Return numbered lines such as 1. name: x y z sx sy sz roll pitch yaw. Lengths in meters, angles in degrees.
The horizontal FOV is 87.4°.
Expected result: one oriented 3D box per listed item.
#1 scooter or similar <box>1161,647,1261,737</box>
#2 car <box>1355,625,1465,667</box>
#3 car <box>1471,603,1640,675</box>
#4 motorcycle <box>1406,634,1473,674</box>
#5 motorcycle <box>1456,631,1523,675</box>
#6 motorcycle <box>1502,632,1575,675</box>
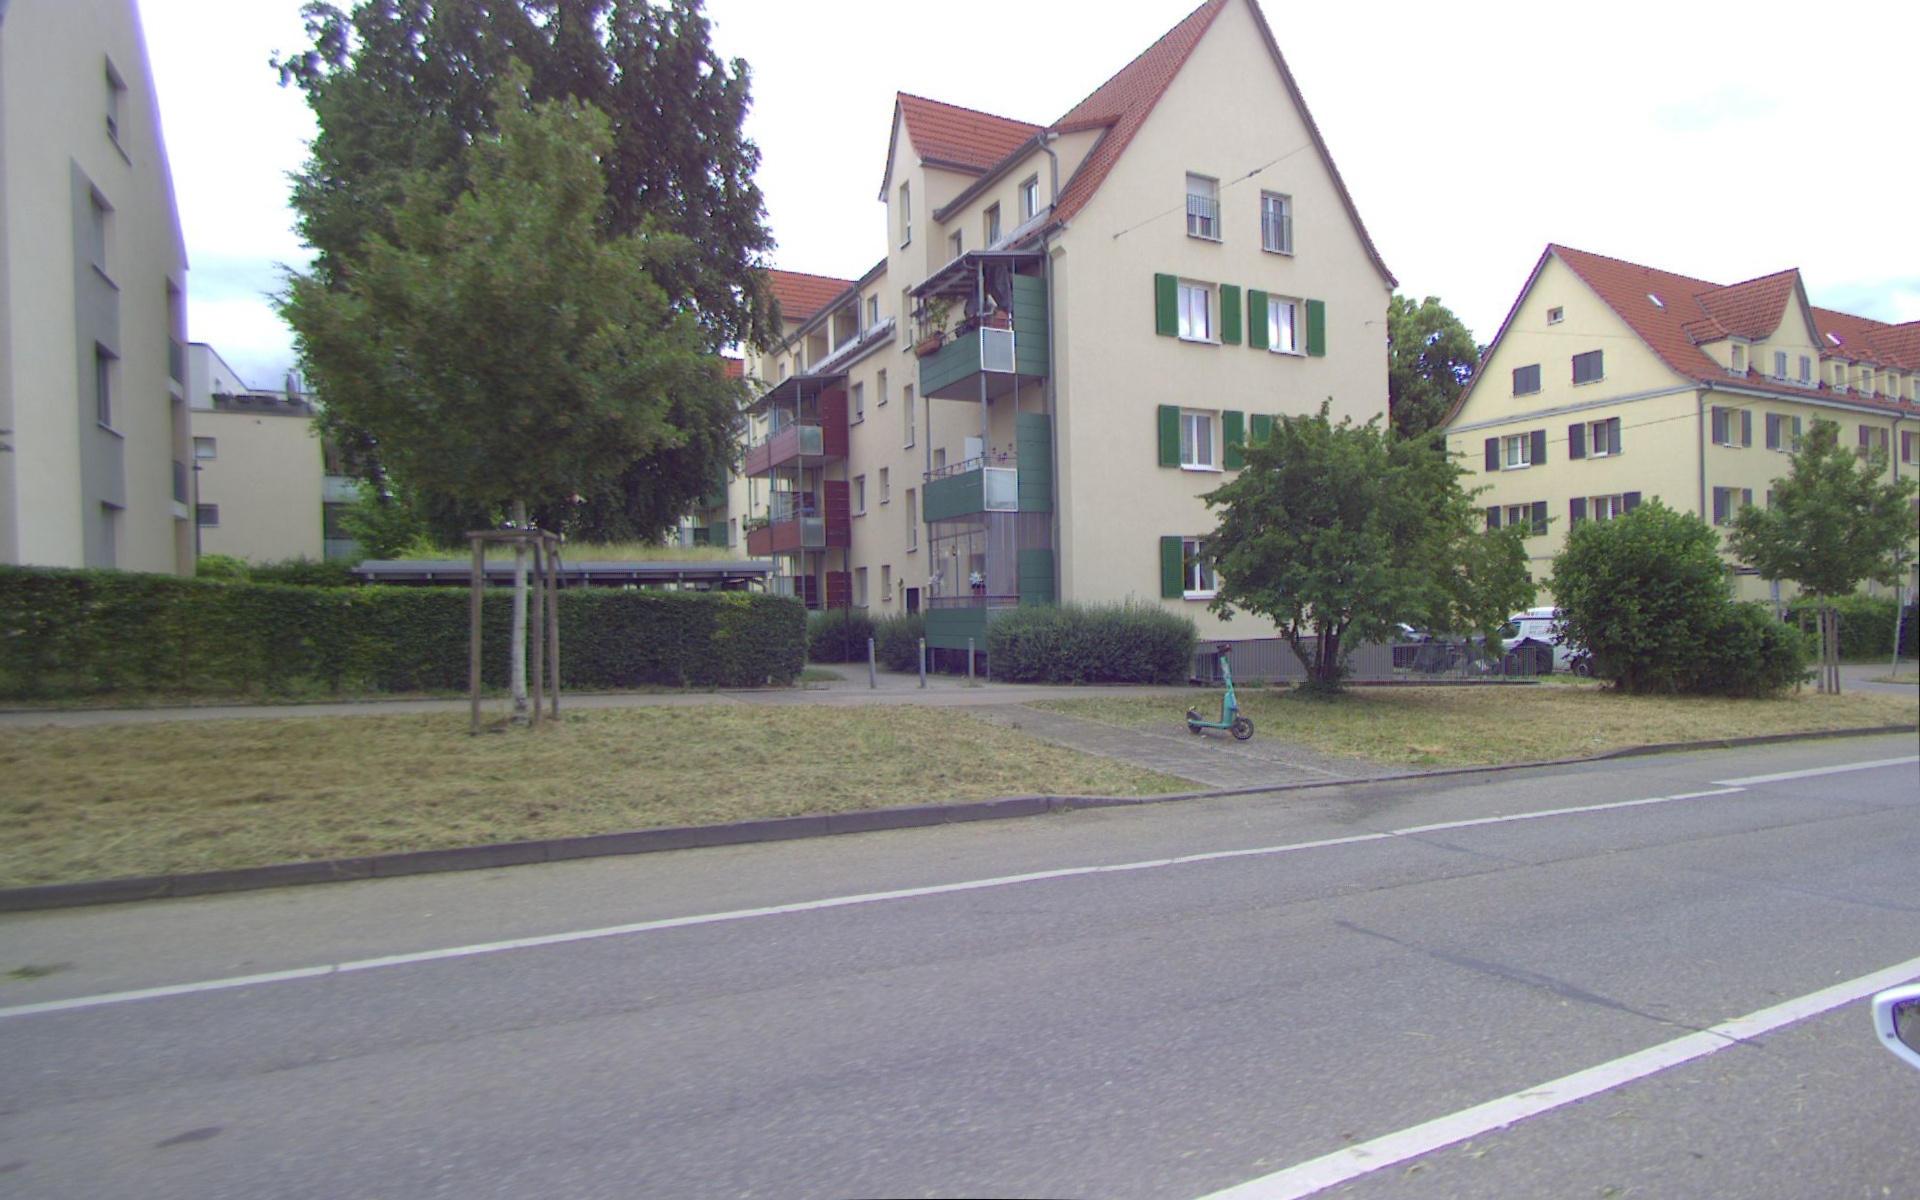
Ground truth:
1. scooter or similar: 3.338 1.203 13.446 0.461 1.100 1.363 0 -1 -31
2. car: 17.771 1.775 39.838 1.721 1.486 3.807 1 0 -24
3. car: 20.347 1.297 34.539 1.969 2.283 4.701 1 -1 -27
4. motorcycle: 16.539 1.846 34.604 2.581 1.296 1.006 1 0 -37
5. motorcycle: 17.235 1.697 32.788 0.996 1.296 2.607 1 0 5
6. motorcycle: 18.358 1.671 31.960 0.996 1.295 2.608 1 -1 5
